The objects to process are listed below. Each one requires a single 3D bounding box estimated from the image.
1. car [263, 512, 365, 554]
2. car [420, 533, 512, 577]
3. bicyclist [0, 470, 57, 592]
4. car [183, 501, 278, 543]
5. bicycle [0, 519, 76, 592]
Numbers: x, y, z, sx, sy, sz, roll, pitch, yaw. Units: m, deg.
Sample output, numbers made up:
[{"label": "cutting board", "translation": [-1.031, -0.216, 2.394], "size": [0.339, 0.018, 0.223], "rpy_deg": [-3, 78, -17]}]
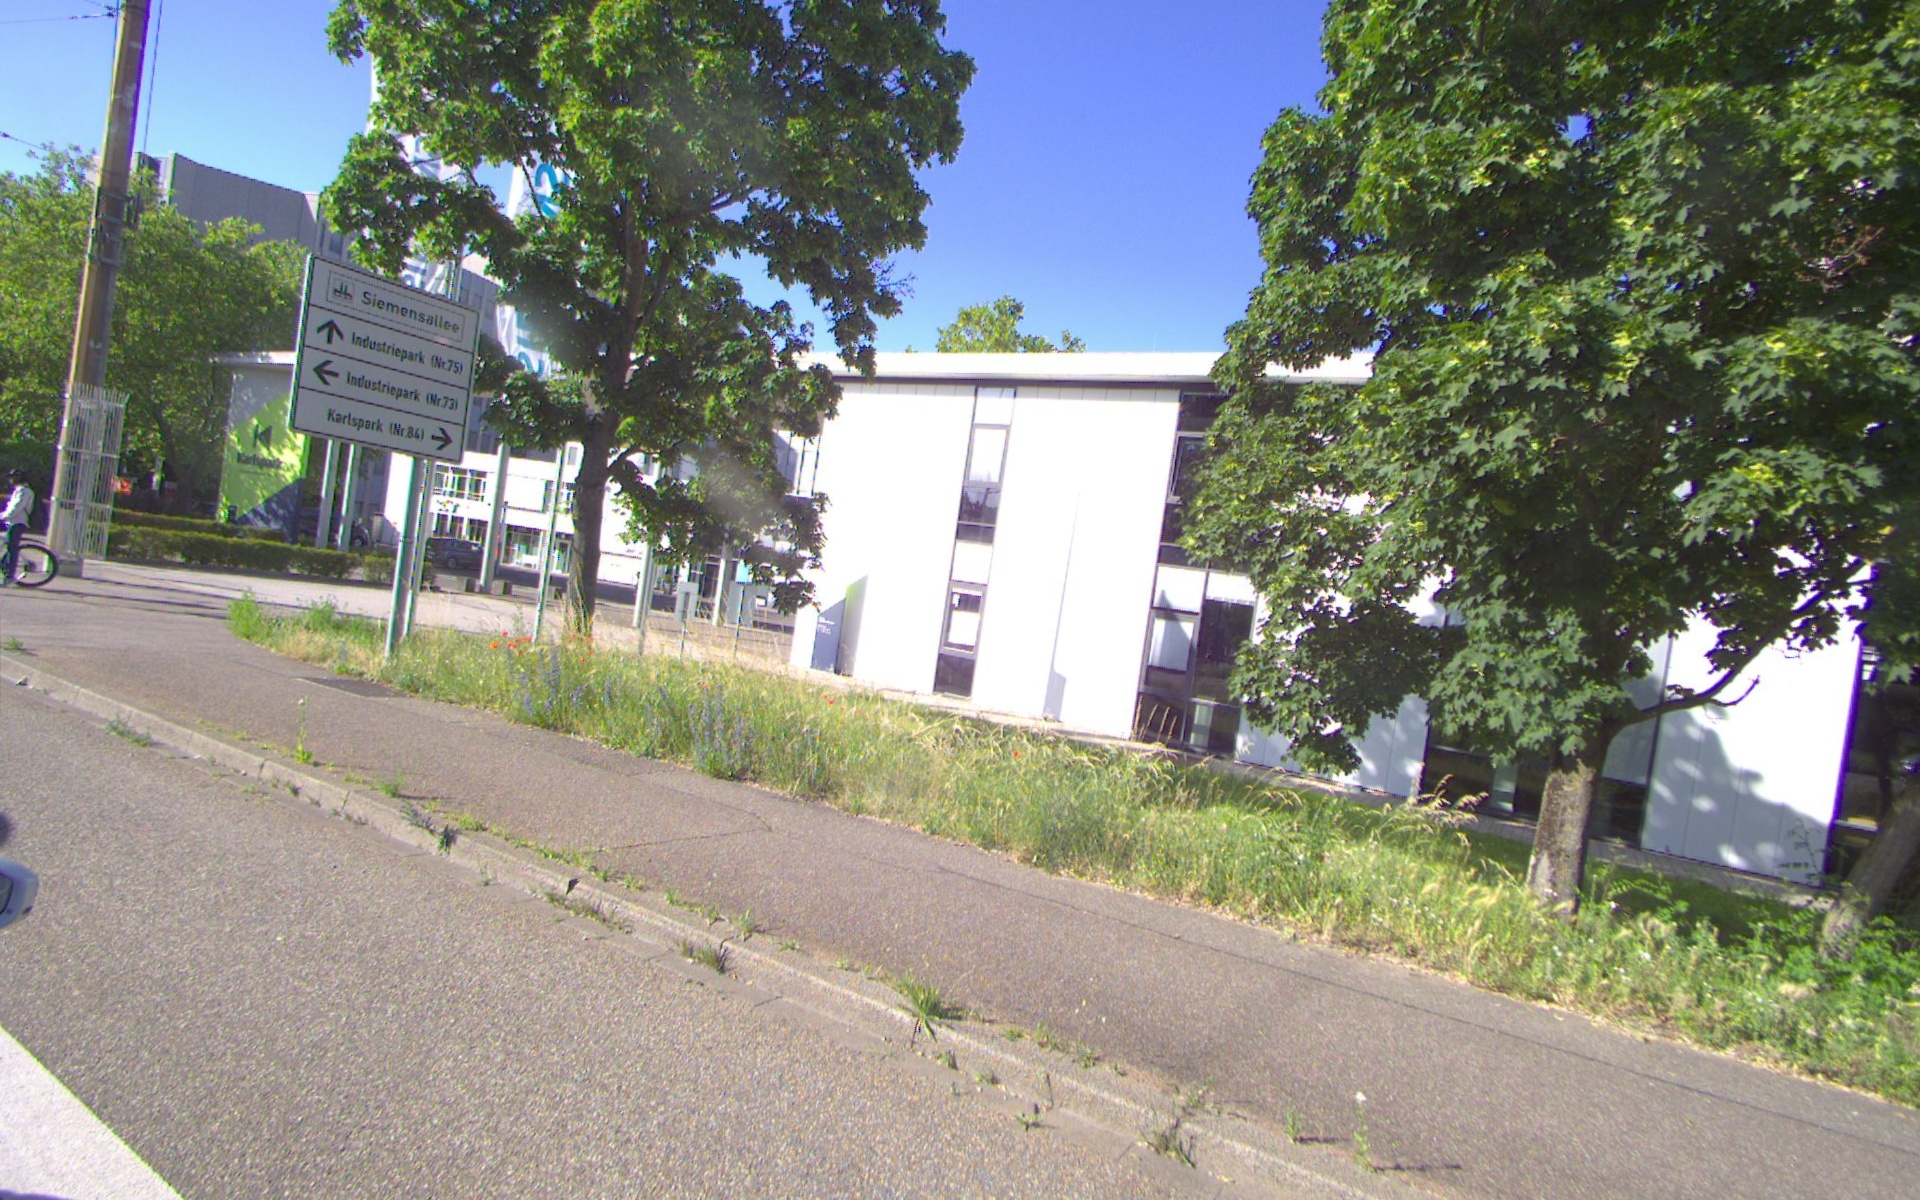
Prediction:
[{"label": "car", "translation": [-36.231, -3.736, 56.569], "size": [1.841, 1.649, 4.553], "rpy_deg": [7, -1, 19]}, {"label": "car", "translation": [-26.308, -2.367, 53.725], "size": [1.865, 1.741, 4.001], "rpy_deg": [8, -1, 22]}, {"label": "bicyclist", "translation": [-14.520, -1.070, 15.360], "size": [0.754, 1.767, 0.908], "rpy_deg": [7, 1, 42]}, {"label": "car", "translation": [-42.762, -4.547, 59.079], "size": [1.963, 1.778, 4.002], "rpy_deg": [8, -1, 19]}, {"label": "bicycle", "translation": [-14.714, -0.729, 15.217], "size": [0.754, 1.010, 1.916], "rpy_deg": [7, 1, 42]}]
